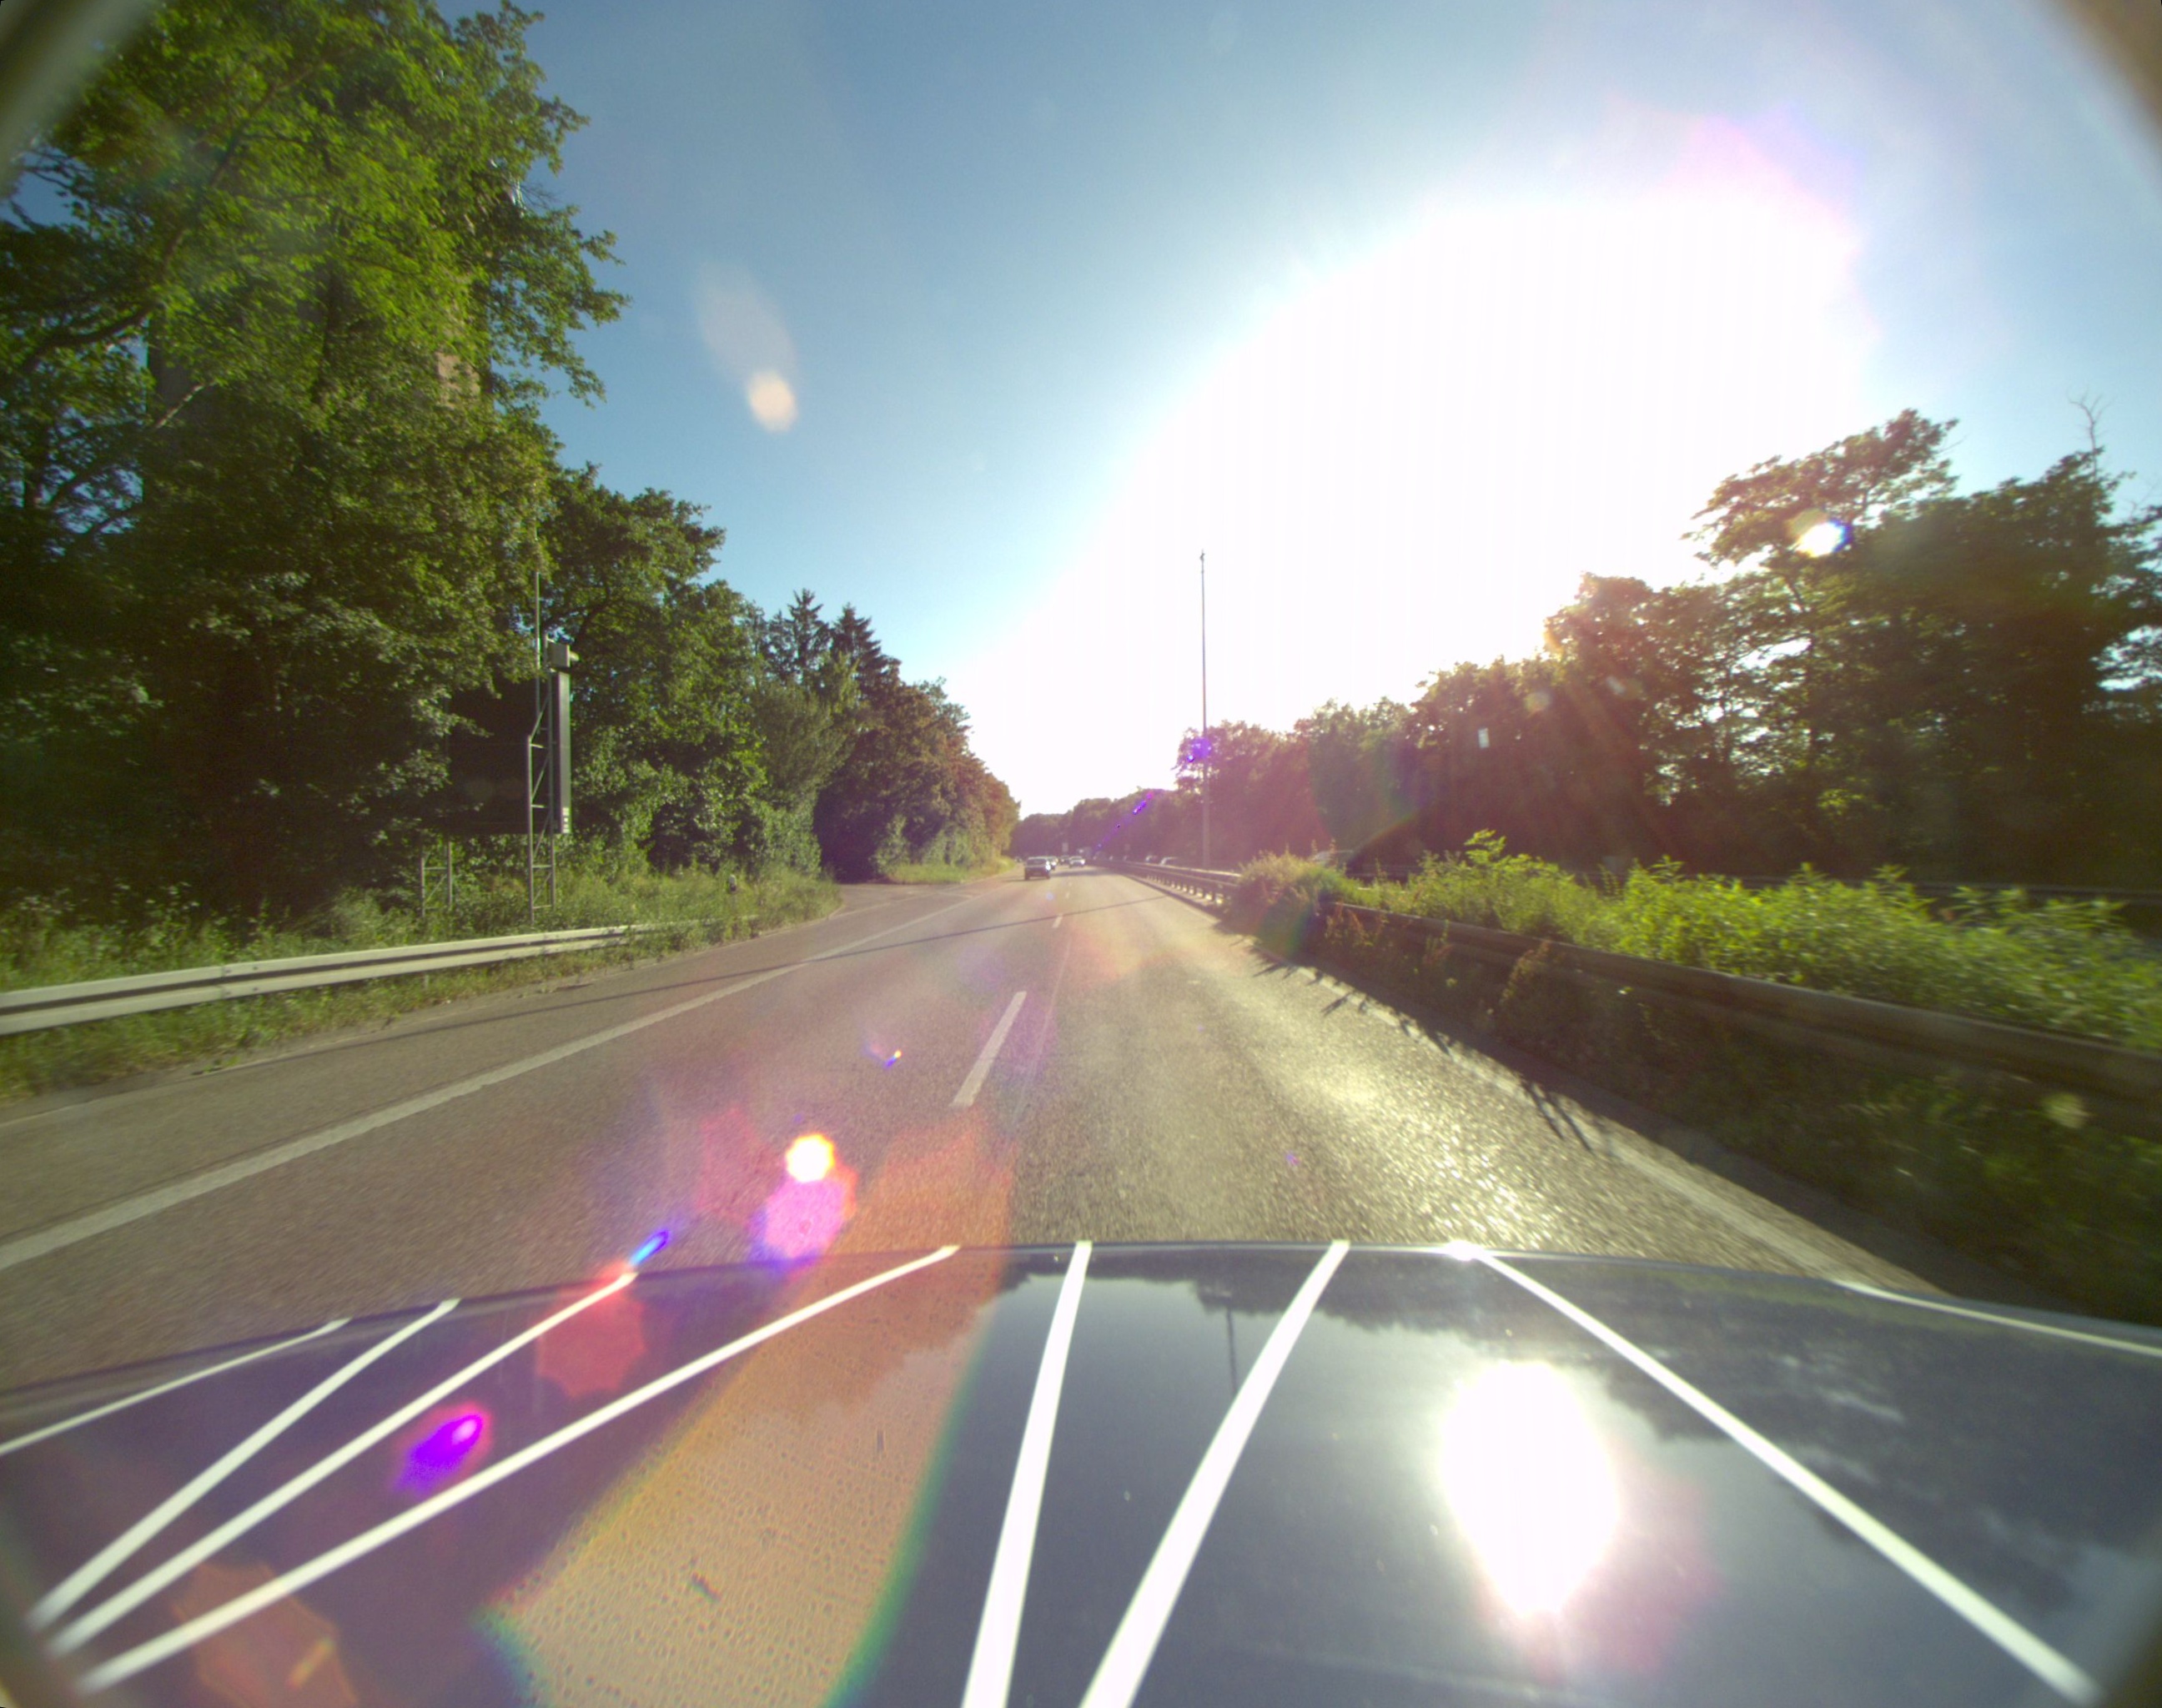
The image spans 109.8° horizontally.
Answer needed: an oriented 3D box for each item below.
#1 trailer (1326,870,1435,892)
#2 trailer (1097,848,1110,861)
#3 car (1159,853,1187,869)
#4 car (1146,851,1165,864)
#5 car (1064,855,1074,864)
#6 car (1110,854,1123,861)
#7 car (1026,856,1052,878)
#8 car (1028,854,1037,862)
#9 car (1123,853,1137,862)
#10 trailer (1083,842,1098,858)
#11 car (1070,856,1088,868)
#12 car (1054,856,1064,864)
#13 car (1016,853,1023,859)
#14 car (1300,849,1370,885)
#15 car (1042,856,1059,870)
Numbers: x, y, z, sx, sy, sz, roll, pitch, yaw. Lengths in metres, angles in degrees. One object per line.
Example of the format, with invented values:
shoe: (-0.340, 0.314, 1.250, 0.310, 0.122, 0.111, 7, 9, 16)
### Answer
trailer: (13.146, 1.149, 33.909, 2.264, 0.736, 6.331, -1, 0, -1)
trailer: (4.294, 0.184, 145.554, 1.999, 2.423, 4.605, -1, 0, -4)
car: (8.798, 0.653, 72.941, 1.966, 1.458, 4.875, -2, 0, -1)
car: (10.900, 0.528, 111.257, 2.125, 1.715, 5.875, -2, 0, -1)
car: (-2.092, 0.936, 131.506, 1.801, 1.453, 4.355, -1, 0, -1)
car: (7.270, 0.695, 157.224, 2.077, 1.458, 4.984, -2, 0, -3)
car: (-2.974, 0.899, 53.993, 1.801, 1.453, 4.355, -1, 0, -3)
car: (-11.718, 0.928, 183.343, 2.000, 1.761, 3.997, -1, 0, -9)
car: (8.979, 0.639, 139.242, 2.077, 1.604, 5.057, -2, 0, -3)
trailer: (2.470, -0.971, 197.104, 3.061, 3.974, 10.968, -1, 0, -3)
car: (-0.278, 0.991, 99.663, 1.905, 1.453, 4.354, -1, 0, -5)
car: (-4.113, 1.068, 143.071, 1.801, 1.453, 4.401, -1, 0, -1)
car: (-18.495, 0.624, 228.566, 2.000, 2.002, 3.997, -1, 0, -9)
car: (13.111, 0.618, 39.574, 1.966, 1.714, 4.743, -2, 0, -1)
car: (-3.485, 1.034, 86.695, 1.801, 1.453, 4.354, -1, 0, -3)
